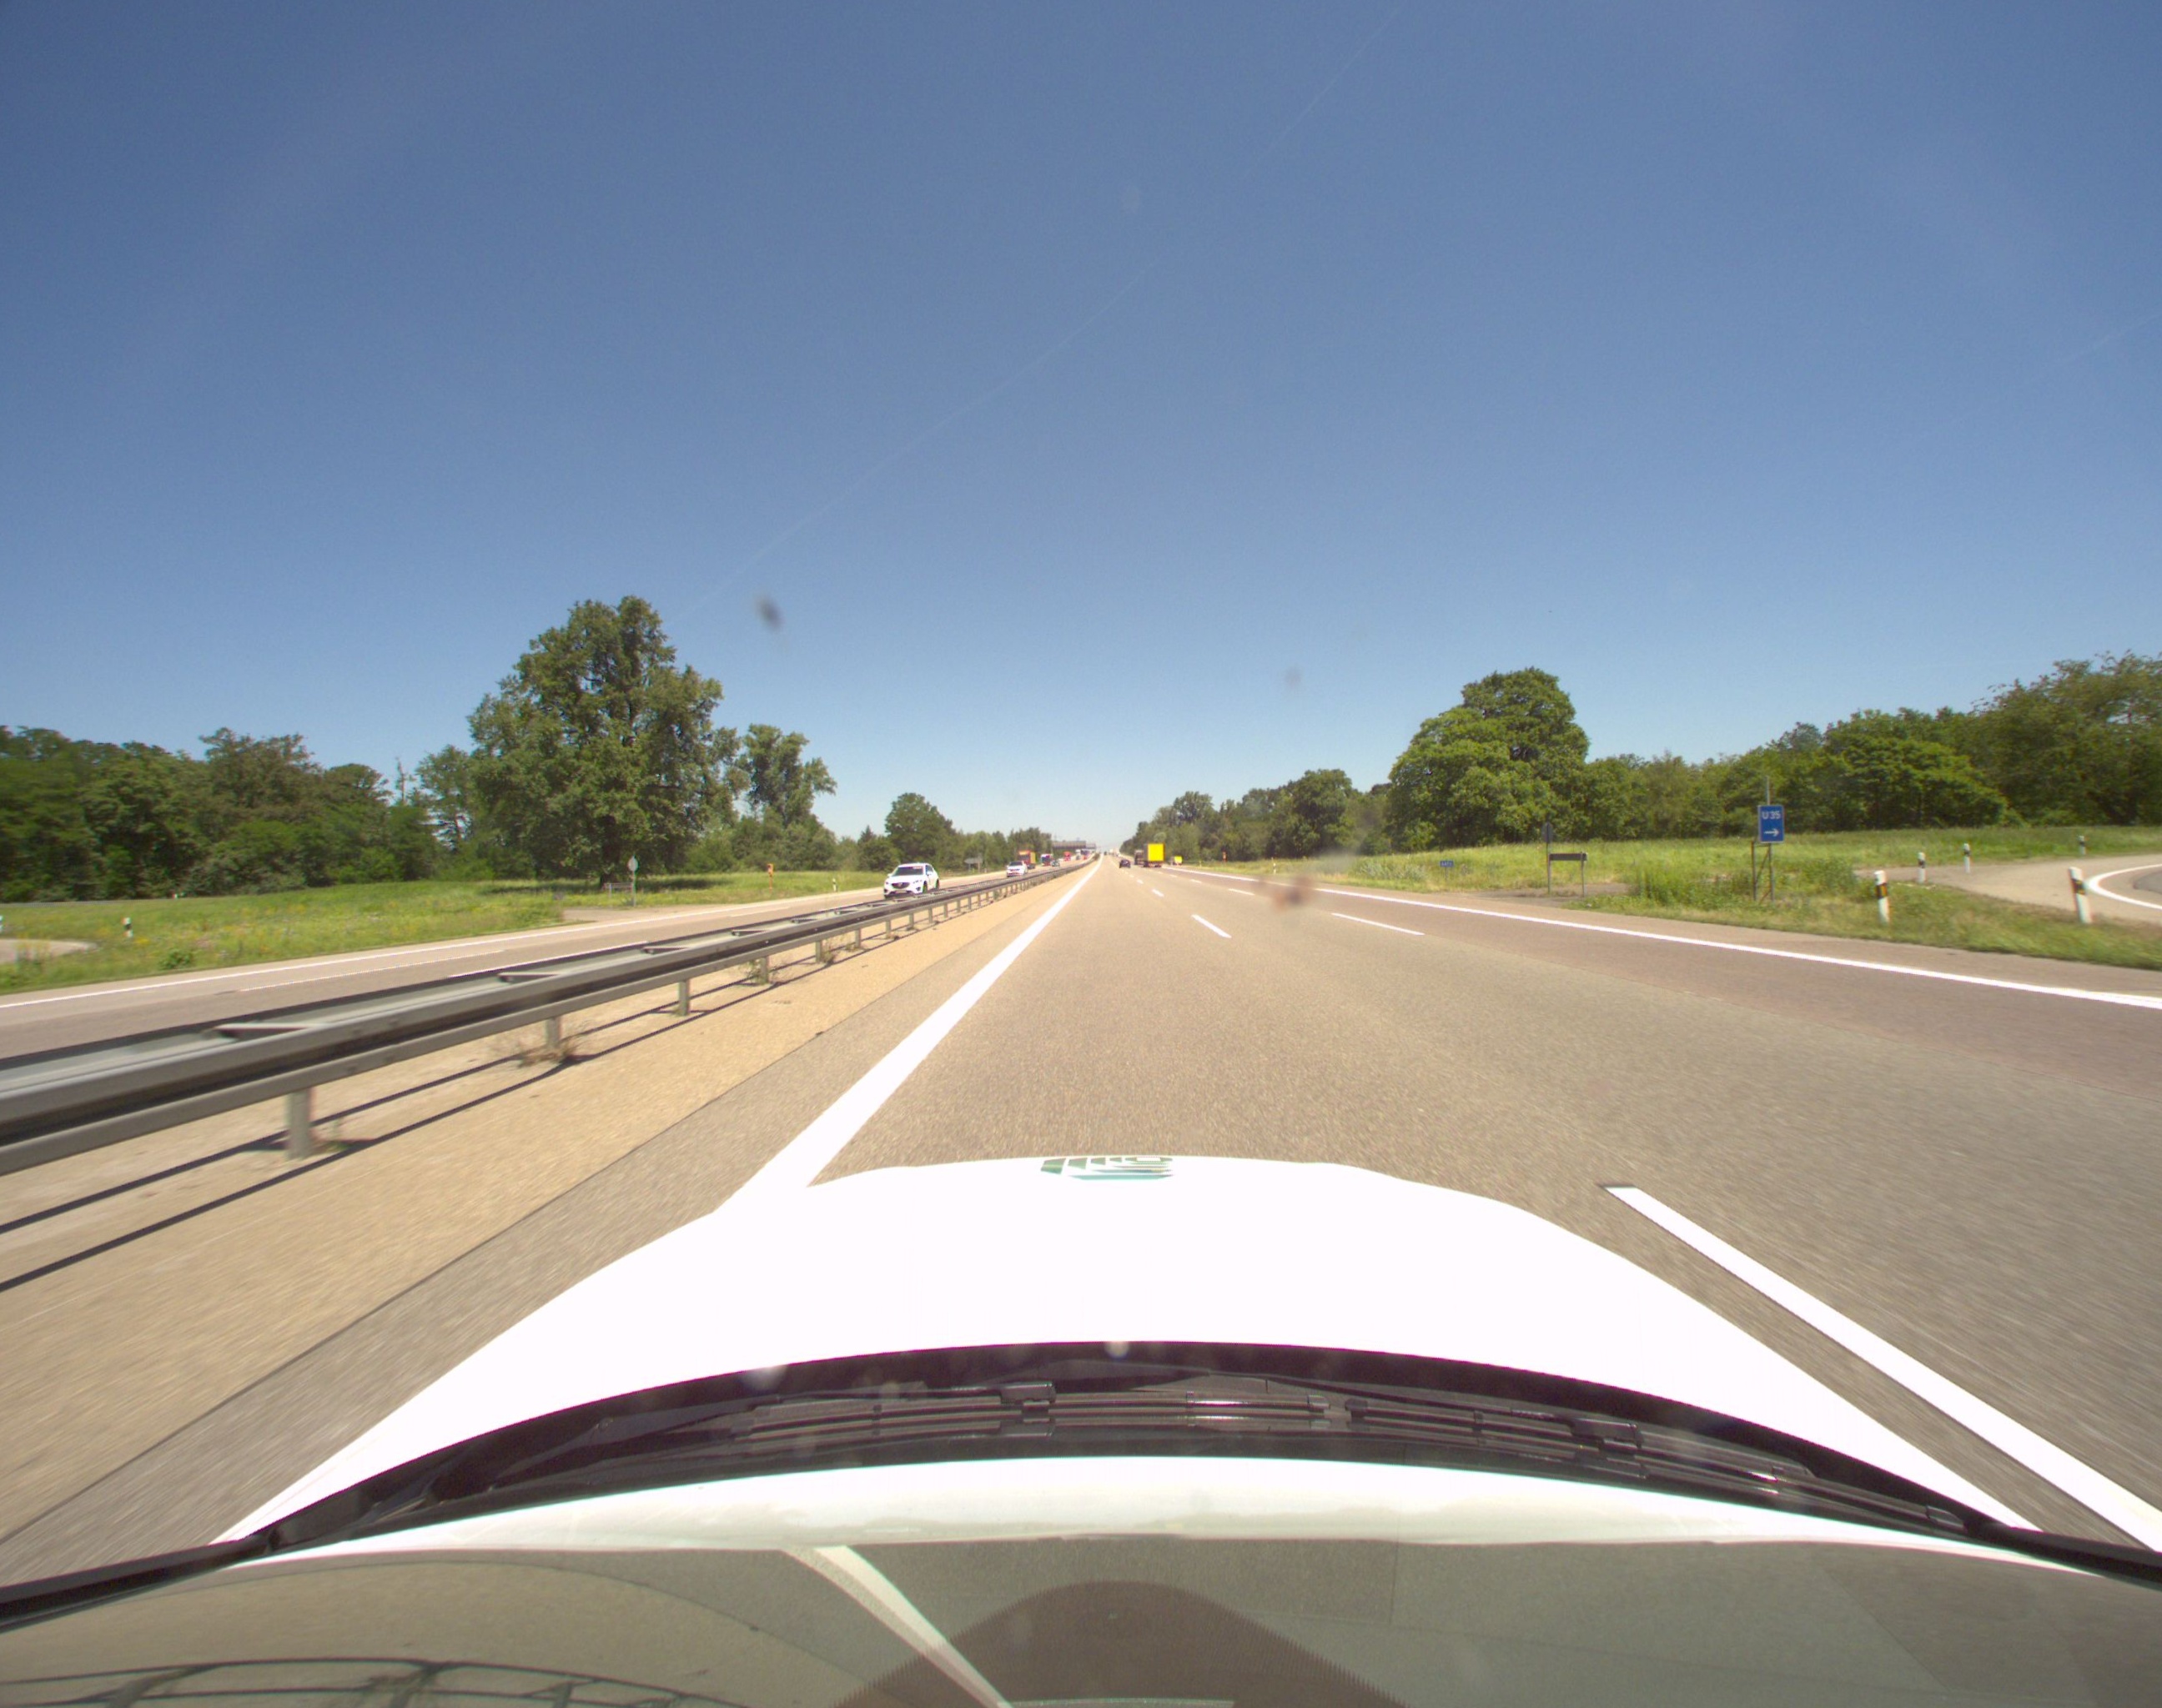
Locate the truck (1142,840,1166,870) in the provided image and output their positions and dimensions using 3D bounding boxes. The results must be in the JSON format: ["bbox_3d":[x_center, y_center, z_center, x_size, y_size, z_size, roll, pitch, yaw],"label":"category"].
[{"bbox_3d":[12.775,0.186,143.672,3.363,4.881,15.095,-1,0,3],"label":"truck"}]

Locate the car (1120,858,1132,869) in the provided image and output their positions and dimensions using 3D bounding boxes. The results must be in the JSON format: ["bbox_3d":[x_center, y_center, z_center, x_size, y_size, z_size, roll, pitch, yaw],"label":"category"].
[{"bbox_3d":[7.358,1.580,134.202,1.820,1.706,4.001,-1,0,1],"label":"car"}]

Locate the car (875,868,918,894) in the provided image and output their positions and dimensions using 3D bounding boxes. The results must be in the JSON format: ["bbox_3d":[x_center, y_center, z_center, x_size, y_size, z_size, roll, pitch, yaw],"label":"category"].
[{"bbox_3d":[-12.221,1.748,54.110,1.756,1.495,4.076,-3,0,2],"label":"car"}]

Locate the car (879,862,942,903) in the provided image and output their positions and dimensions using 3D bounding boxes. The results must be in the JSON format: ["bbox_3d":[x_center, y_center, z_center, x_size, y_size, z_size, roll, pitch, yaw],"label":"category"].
[{"bbox_3d":[-7.866,1.273,38.088,1.756,1.692,4.821,-2,0,2],"label":"car"}]

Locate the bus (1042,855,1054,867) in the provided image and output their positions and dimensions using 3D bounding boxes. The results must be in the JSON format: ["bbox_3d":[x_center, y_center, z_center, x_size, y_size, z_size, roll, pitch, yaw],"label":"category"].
[{"bbox_3d":[-9.734,1.980,240.280,2.753,3.447,8.935,-2,0,2],"label":"bus"}]

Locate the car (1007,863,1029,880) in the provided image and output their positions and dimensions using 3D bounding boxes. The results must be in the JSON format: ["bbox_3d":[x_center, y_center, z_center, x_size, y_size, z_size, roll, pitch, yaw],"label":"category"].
[{"bbox_3d":[-6.710,1.885,87.150,1.804,1.692,5.126,-2,0,2],"label":"car"}]

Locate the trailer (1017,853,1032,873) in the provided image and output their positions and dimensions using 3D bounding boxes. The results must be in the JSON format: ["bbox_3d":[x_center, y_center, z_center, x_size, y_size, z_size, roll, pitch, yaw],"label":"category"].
[{"bbox_3d":[-11.878,1.891,172.592,2.593,3.992,6.031,-1,0,2],"label":"trailer"}]

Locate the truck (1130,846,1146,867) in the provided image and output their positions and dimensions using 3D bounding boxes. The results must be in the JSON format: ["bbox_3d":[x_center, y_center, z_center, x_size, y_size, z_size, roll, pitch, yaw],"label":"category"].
[{"bbox_3d":[13.512,0.611,192.488,3.353,4.881,15.095,-1,0,3],"label":"truck"}]

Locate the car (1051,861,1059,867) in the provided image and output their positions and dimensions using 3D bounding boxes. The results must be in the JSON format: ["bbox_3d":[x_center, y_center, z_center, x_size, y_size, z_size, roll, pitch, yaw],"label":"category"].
[{"bbox_3d":[-6.531,2.622,206.774,1.715,1.380,4.786,-5,-1,0],"label":"car"}]
